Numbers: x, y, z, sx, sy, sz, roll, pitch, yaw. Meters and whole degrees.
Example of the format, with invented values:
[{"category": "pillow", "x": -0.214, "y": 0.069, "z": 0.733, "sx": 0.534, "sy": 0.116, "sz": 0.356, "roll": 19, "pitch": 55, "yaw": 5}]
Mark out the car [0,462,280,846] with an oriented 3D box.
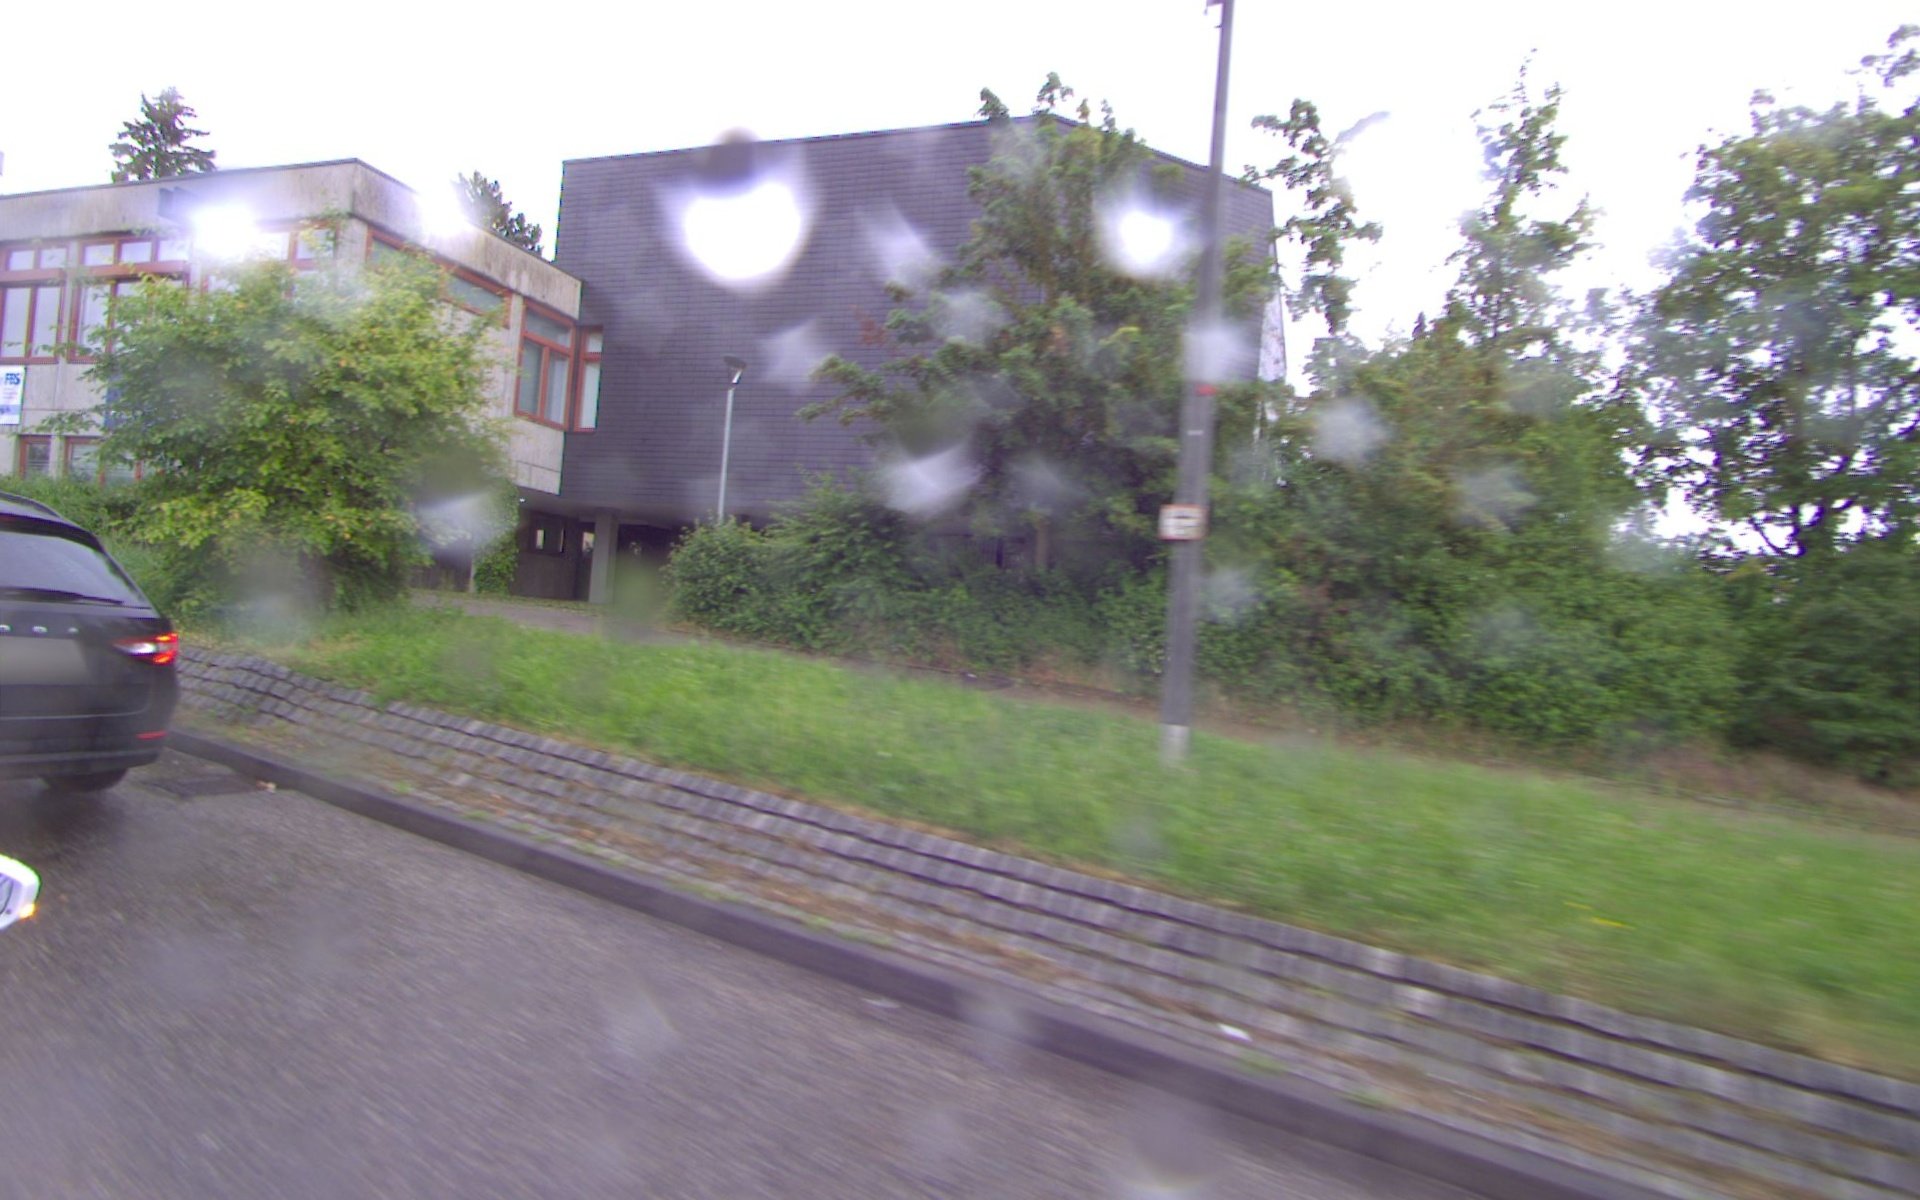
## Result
[{"category": "car", "x": -5.828, "y": 0.004, "z": 4.994, "sx": 4.527, "sy": 1.524, "sz": 1.961, "roll": 6, "pitch": -3, "yaw": 27}]
